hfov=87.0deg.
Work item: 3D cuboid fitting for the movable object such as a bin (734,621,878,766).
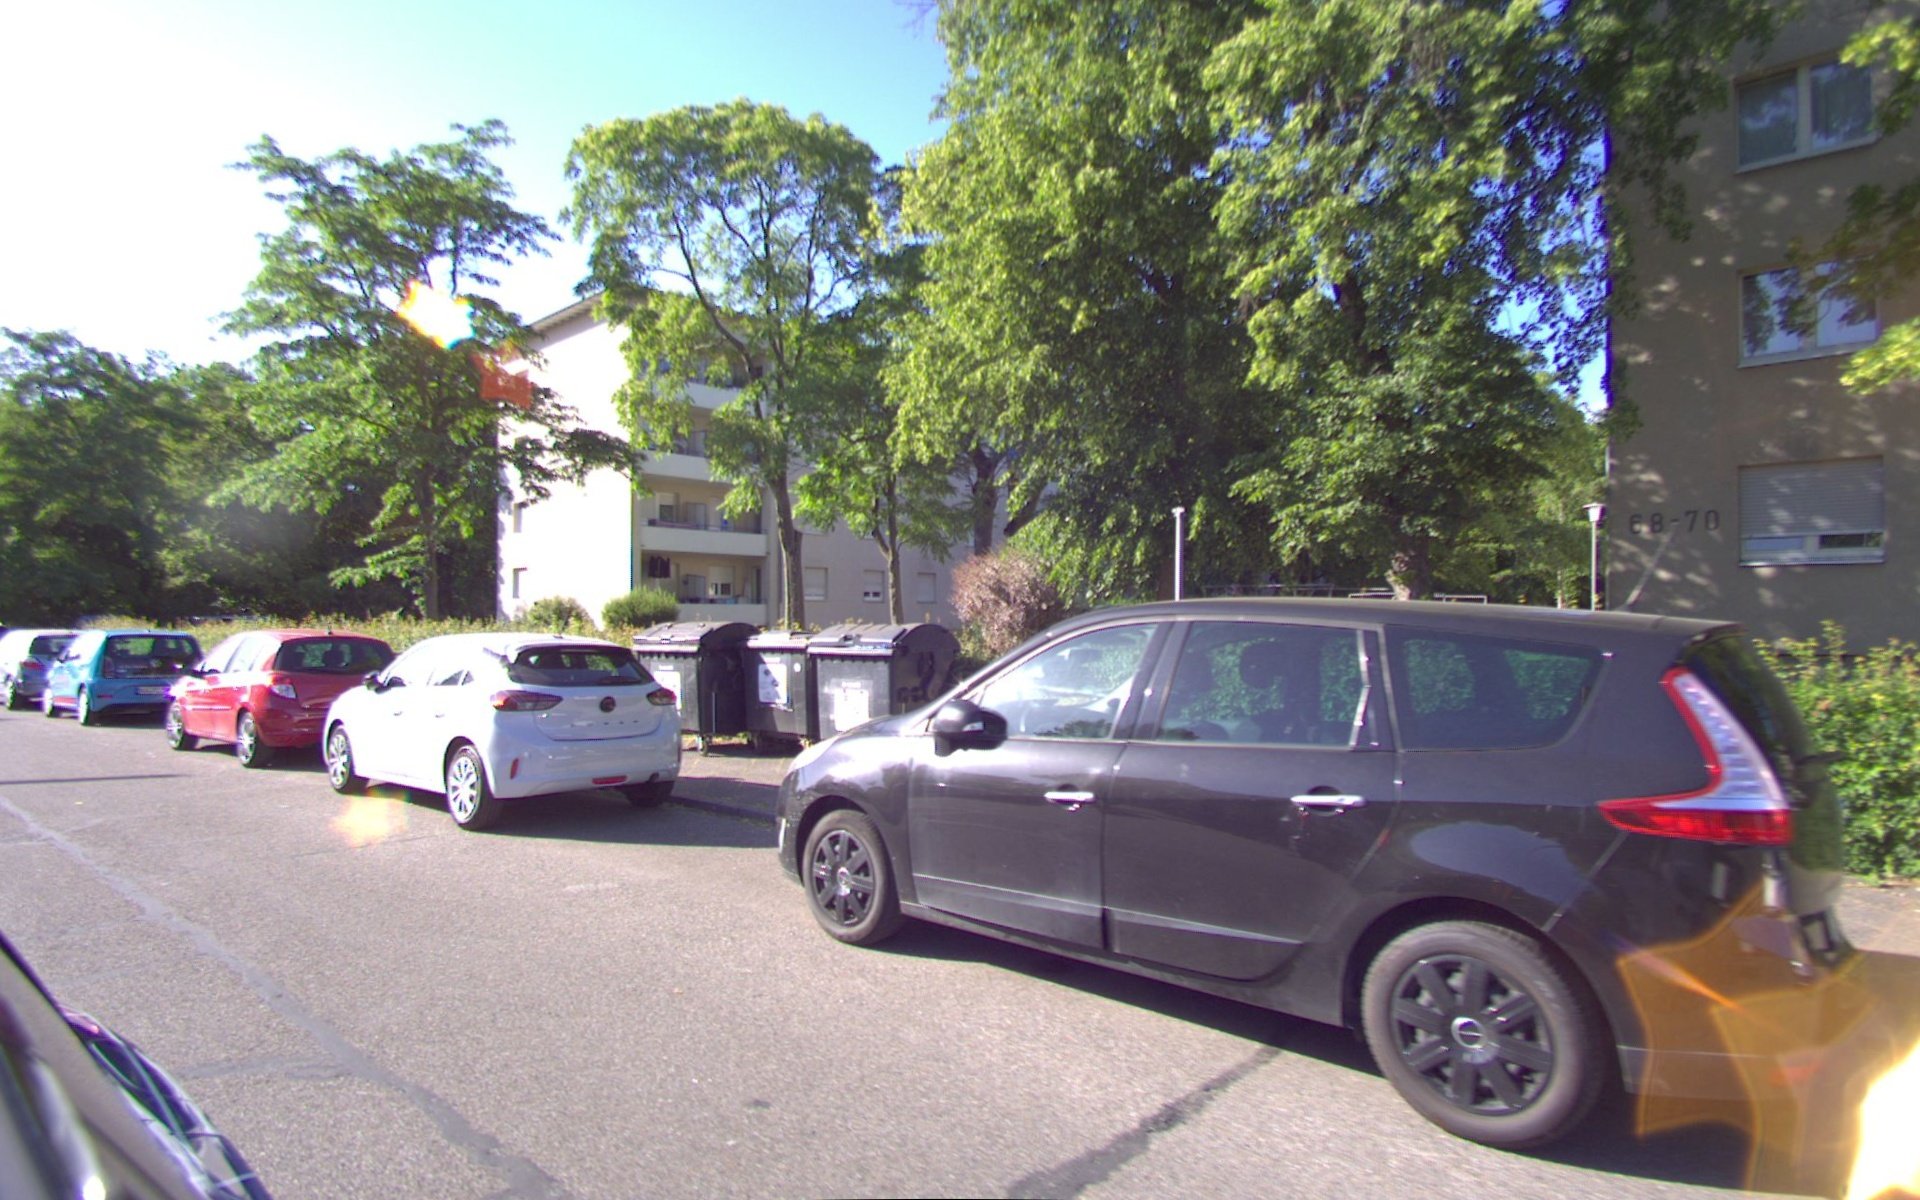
[{"bbox_3d":[-1.684,0.969,11.057,1.189,1.425,0.966,-1,1,39],"label":"movable object such as a bin"}]

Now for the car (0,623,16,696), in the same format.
[{"bbox_3d":[-23.653,1.353,23.657,4.065,1.643,1.638,-1,-3,37],"label":"car"}]

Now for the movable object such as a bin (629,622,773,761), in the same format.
[{"bbox_3d":[-2.946,0.987,11.503,1.263,1.425,0.995,-1,1,39],"label":"movable object such as a bin"}]

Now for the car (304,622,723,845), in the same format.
[{"bbox_3d":[-3.989,0.962,8.767,3.938,1.490,1.787,-1,-3,41],"label":"car"}]

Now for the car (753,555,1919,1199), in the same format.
[{"bbox_3d":[1.213,0.774,4.304,4.430,1.618,1.787,-1,-3,41],"label":"car"}]

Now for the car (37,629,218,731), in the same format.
[{"bbox_3d":[-13.597,1.235,16.494,3.102,1.490,1.637,-1,-3,39],"label":"car"}]

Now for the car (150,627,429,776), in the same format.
[{"bbox_3d":[-8.029,1.076,12.008,3.875,1.490,1.615,-1,-3,39],"label":"car"}]

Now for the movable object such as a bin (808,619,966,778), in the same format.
[{"bbox_3d":[-0.731,0.924,10.075,1.263,1.425,0.886,-1,1,39],"label":"movable object such as a bin"}]

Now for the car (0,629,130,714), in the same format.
[{"bbox_3d":[-17.649,1.311,19.512,3.728,1.490,1.638,-1,-3,36],"label":"car"}]
